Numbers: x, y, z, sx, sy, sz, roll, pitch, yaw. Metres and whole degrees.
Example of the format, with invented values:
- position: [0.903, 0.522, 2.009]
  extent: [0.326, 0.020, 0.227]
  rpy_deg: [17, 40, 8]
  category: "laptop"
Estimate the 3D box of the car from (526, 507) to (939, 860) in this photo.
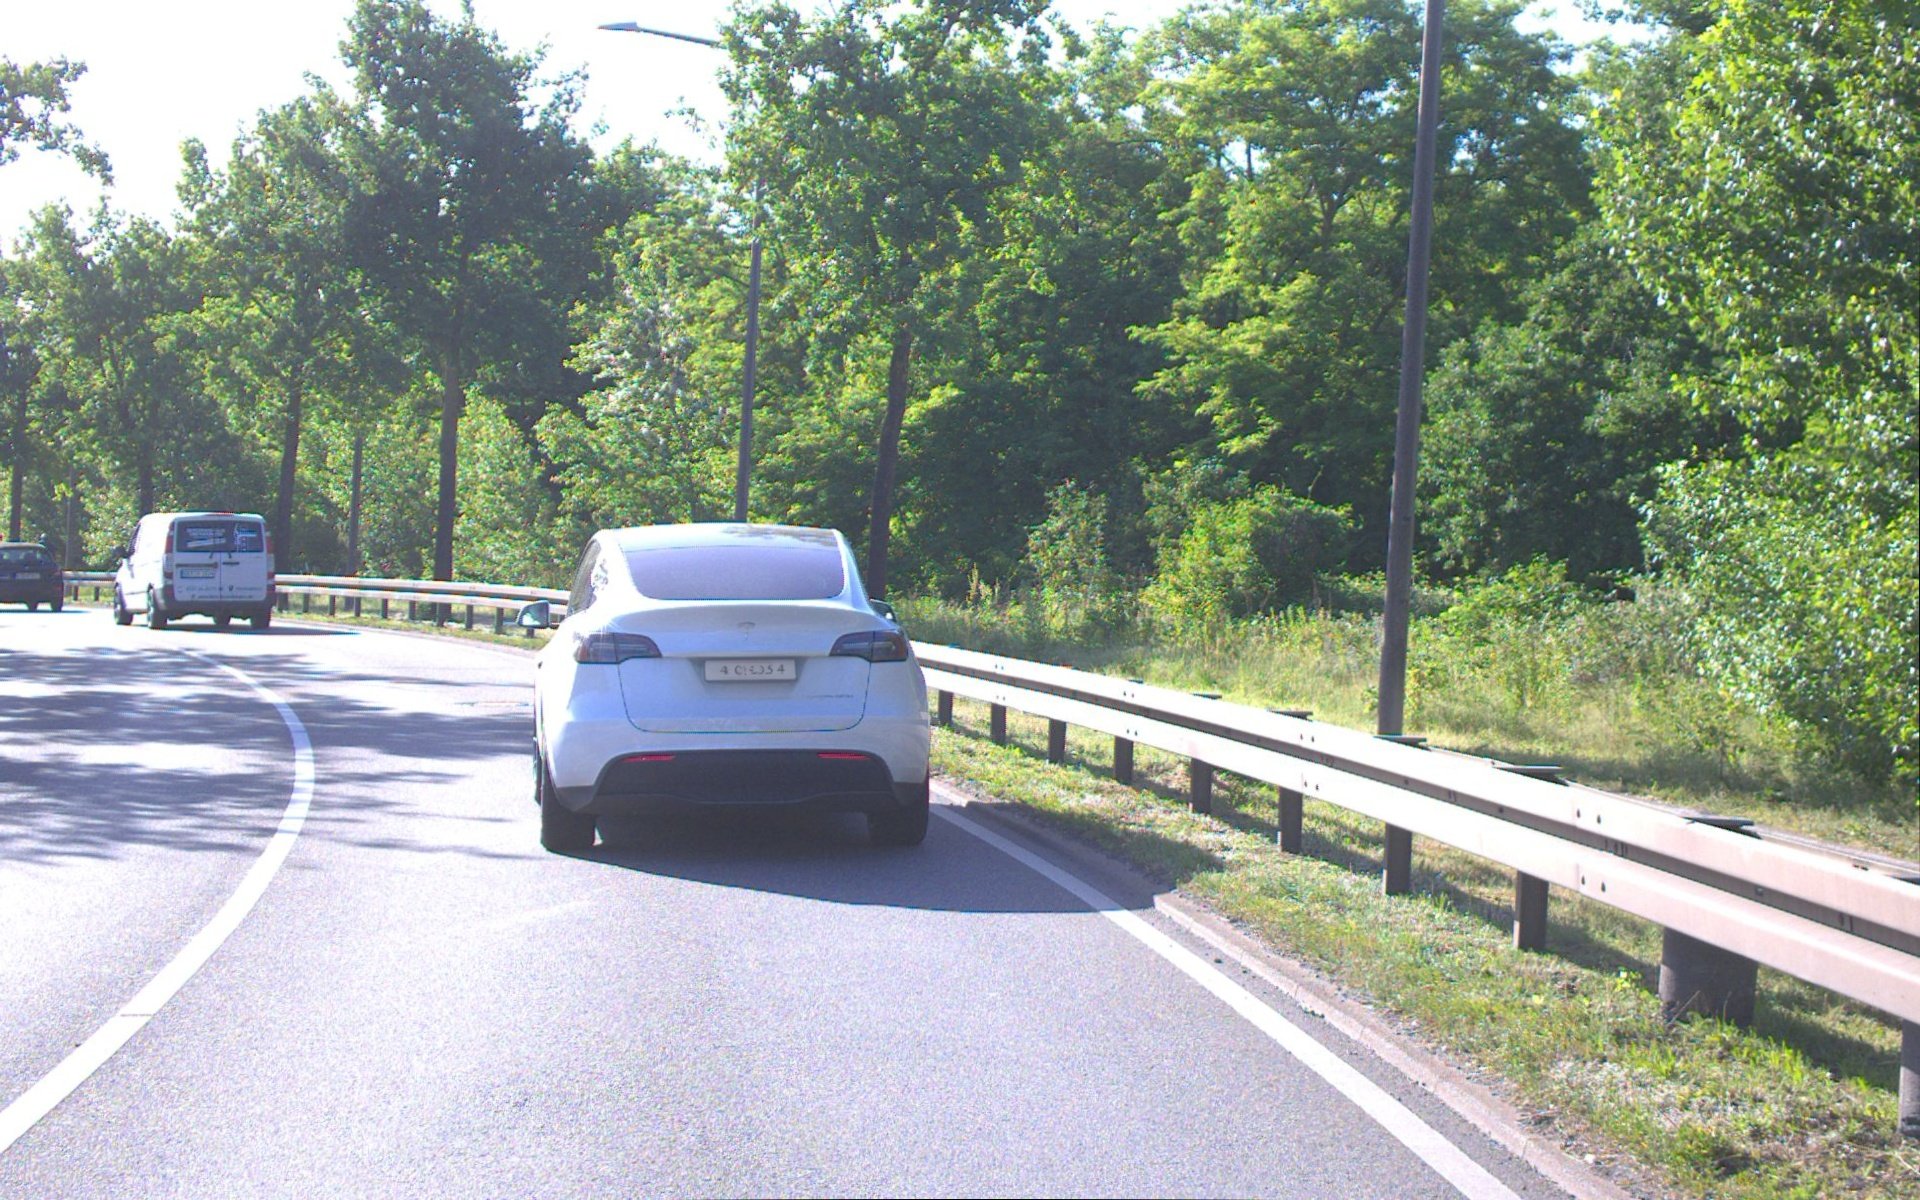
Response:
- position: [-1.308, 0.371, 18.320]
  extent: [1.913, 1.635, 4.411]
  rpy_deg: [1, 1, -6]
  category: "car"

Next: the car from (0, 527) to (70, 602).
- position: [-19.800, -0.734, 72.079]
  extent: [1.604, 1.430, 3.679]
  rpy_deg: [3, -2, -23]
  category: "car"

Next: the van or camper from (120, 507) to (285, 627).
- position: [-12.533, -0.545, 56.672]
  extent: [1.958, 1.877, 4.881]
  rpy_deg: [1, 1, -21]
  category: "van or camper"
